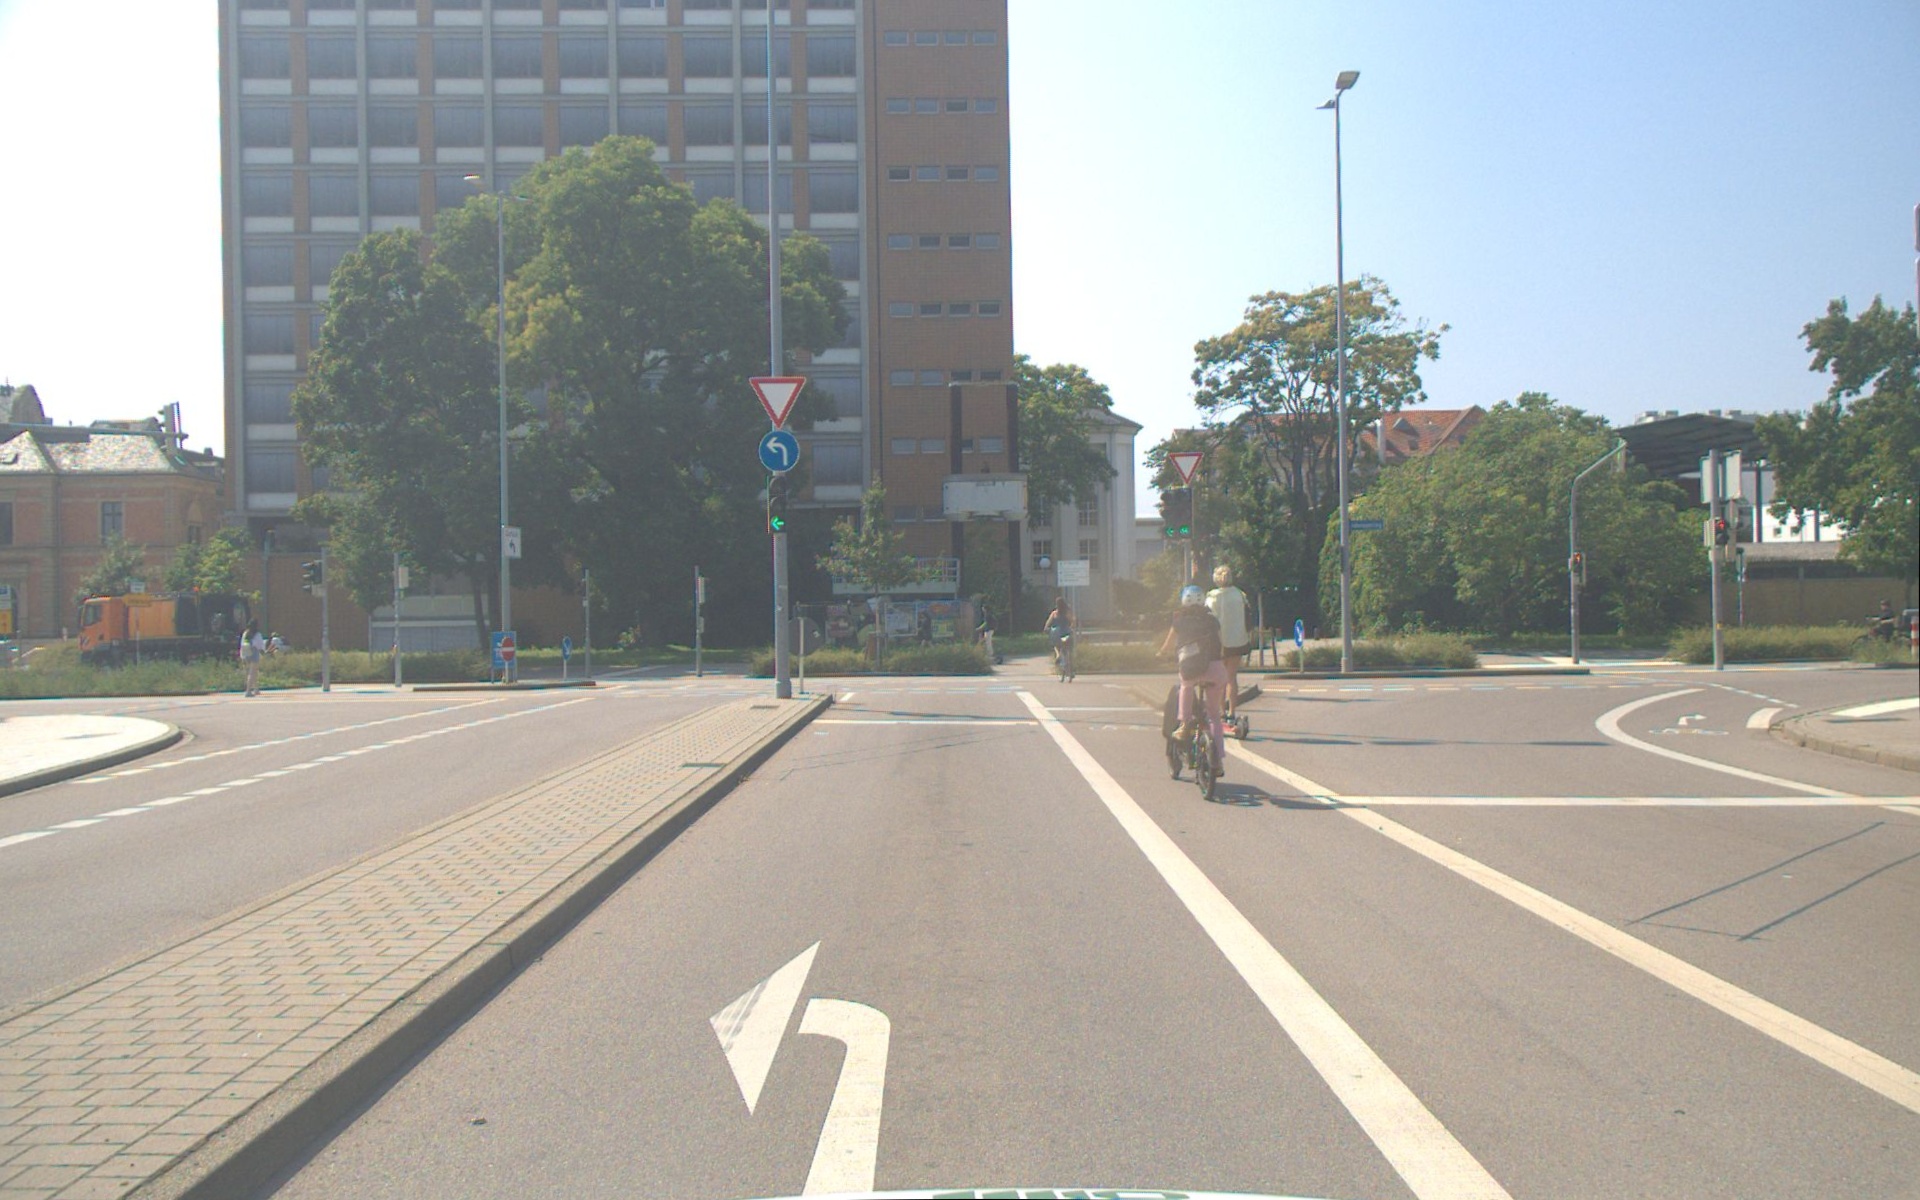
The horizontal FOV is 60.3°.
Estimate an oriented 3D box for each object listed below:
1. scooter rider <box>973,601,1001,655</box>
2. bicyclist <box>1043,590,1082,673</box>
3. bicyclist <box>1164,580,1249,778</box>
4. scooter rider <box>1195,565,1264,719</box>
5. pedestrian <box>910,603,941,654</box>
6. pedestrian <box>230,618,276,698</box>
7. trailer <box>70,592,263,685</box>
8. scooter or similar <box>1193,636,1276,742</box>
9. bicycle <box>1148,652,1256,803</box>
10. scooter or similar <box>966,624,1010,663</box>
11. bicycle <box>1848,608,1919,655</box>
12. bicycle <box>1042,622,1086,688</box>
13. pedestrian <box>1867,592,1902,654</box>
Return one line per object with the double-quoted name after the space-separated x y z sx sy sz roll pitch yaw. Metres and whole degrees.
0.901 0.921 54.942 0.785 1.770 0.689 -2 -1 10 "scooter rider"
2.068 0.634 33.567 0.676 1.626 0.844 -2 1 -1 "bicyclist"
1.951 0.612 13.162 0.537 1.522 0.803 0 0 -1 "bicyclist"
3.094 0.475 19.041 0.657 1.729 0.539 -1 0 -2 "scooter rider"
-1.202 0.983 57.848 0.858 1.734 0.708 -2 1 16 "pedestrian"
-15.642 1.281 36.582 0.593 1.724 0.701 -2 -1 16 "pedestrian"
-27.106 1.357 56.483 6.176 3.061 2.470 -1 -2 23 "trailer"
3.100 0.979 18.814 0.545 1.078 2.003 -1 0 -1 "scooter or similar"
1.944 1.000 13.516 0.545 1.078 2.003 0 0 -1 "bicycle"
0.931 1.437 54.992 1.334 1.256 0.586 -2 0 10 "scooter or similar"
25.701 0.872 45.807 1.746 1.234 0.787 -1 -1 4 "bicycle"
2.086 1.086 33.413 0.679 1.175 2.371 -2 1 -1 "bicycle"
25.602 0.636 45.810 0.535 1.698 0.781 -1 -1 4 "pedestrian"
